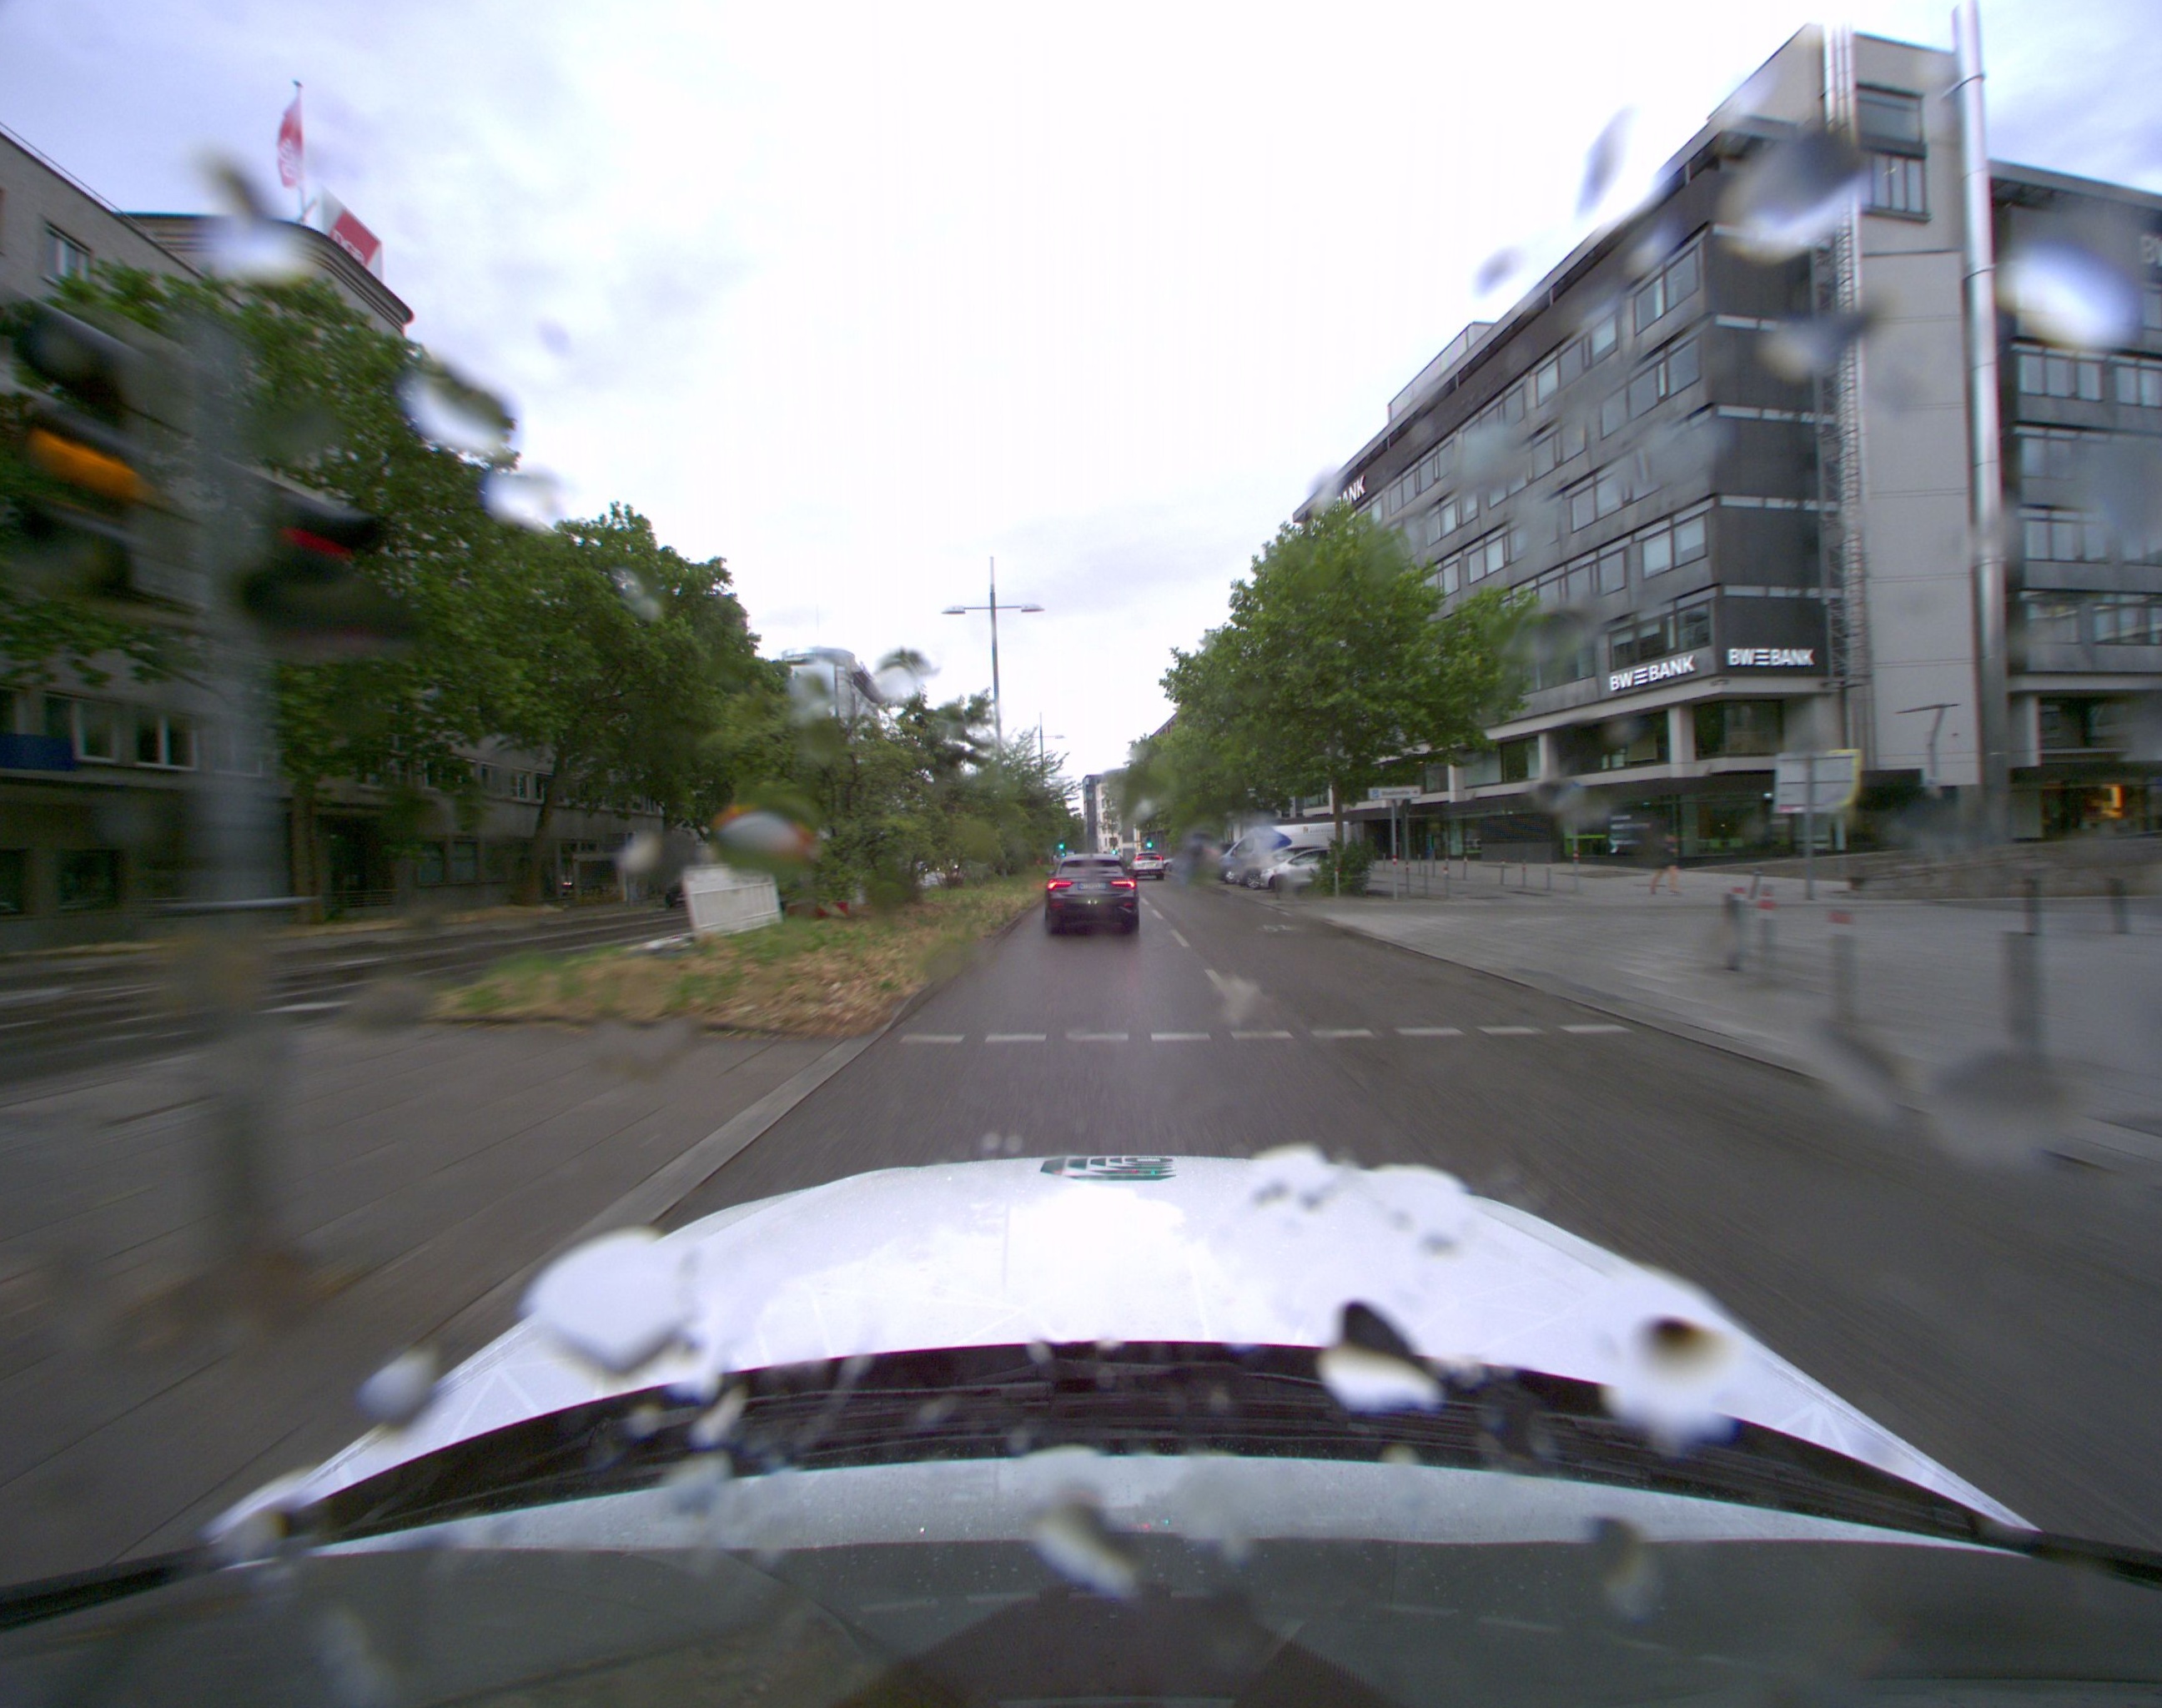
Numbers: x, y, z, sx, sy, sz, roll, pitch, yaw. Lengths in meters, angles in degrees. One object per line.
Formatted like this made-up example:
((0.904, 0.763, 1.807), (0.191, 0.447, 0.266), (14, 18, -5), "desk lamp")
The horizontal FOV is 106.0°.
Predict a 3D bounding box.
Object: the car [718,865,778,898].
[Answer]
((-17.576, 1.436, 43.159), (1.683, 1.519, 3.623), (-5, 0, -2), "car")

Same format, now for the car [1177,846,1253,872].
((8.868, 0.353, 53.806), (4.512, 1.507, 1.880), (-3, 0, 26), "car")

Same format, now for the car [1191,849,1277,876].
((8.989, 0.515, 47.913), (4.578, 1.394, 1.859), (-3, -1, 30), "car")

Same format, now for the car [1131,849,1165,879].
((3.919, 0.569, 48.149), (1.842, 1.669, 4.040), (-1, 0, 2), "car")

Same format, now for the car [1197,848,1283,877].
((8.766, 0.469, 44.999), (4.323, 1.436, 1.772), (-2, -1, 28), "car")

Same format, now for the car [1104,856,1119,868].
((3.893, 1.022, 104.333), (1.842, 1.523, 4.040), (-1, 0, 2), "car")

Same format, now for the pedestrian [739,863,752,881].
((-31.556, 1.702, 76.656), (0.994, 1.645, 0.674), (-2, 0, -12), "pedestrian")

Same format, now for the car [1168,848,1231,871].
((8.977, 0.439, 61.584), (4.252, 1.488, 1.855), (-3, 0, 31), "car")

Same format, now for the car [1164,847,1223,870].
((8.937, 0.361, 64.795), (4.177, 1.669, 1.850), (-3, 0, 28), "car")

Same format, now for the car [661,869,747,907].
((-17.453, 1.527, 37.970), (1.763, 1.434, 4.670), (-5, 0, -1), "car")

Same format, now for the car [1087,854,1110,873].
((1.510, 0.799, 68.004), (1.842, 1.523, 4.040), (-1, 0, 2), "car")

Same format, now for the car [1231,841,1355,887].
((8.061, 0.388, 30.956), (4.216, 1.667, 1.829), (-1, 0, 28), "car")

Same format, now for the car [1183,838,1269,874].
((9.064, 0.124, 51.047), (4.890, 1.978, 1.941), (-3, 0, 27), "car")

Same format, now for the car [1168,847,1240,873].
((8.631, 0.409, 57.079), (4.738, 1.534, 1.877), (-3, 0, 16), "car")

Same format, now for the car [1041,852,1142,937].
((0.238, 0.748, 17.135), (1.843, 1.523, 4.040), (-1, 0, 1), "car")

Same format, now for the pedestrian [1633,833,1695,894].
((16.698, 0.258, 23.333), (0.808, 1.696, 1.179), (-1, 0, -20), "pedestrian")

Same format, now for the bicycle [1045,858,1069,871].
((-2.270, 1.005, 78.567), (2.247, 1.162, 0.750), (1, -1, 0), "bicycle")

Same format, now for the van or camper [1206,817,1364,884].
((8.513, -0.082, 34.145), (6.008, 2.558, 2.118), (-2, -1, 29), "van or camper")

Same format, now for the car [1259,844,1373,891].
((8.149, 0.465, 28.208), (3.617, 1.547, 1.724), (-1, 0, 21), "car")

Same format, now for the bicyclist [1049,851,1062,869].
((-2.467, 0.579, 78.580), (1.100, 1.622, 0.751), (1, -1, 1), "bicyclist")
